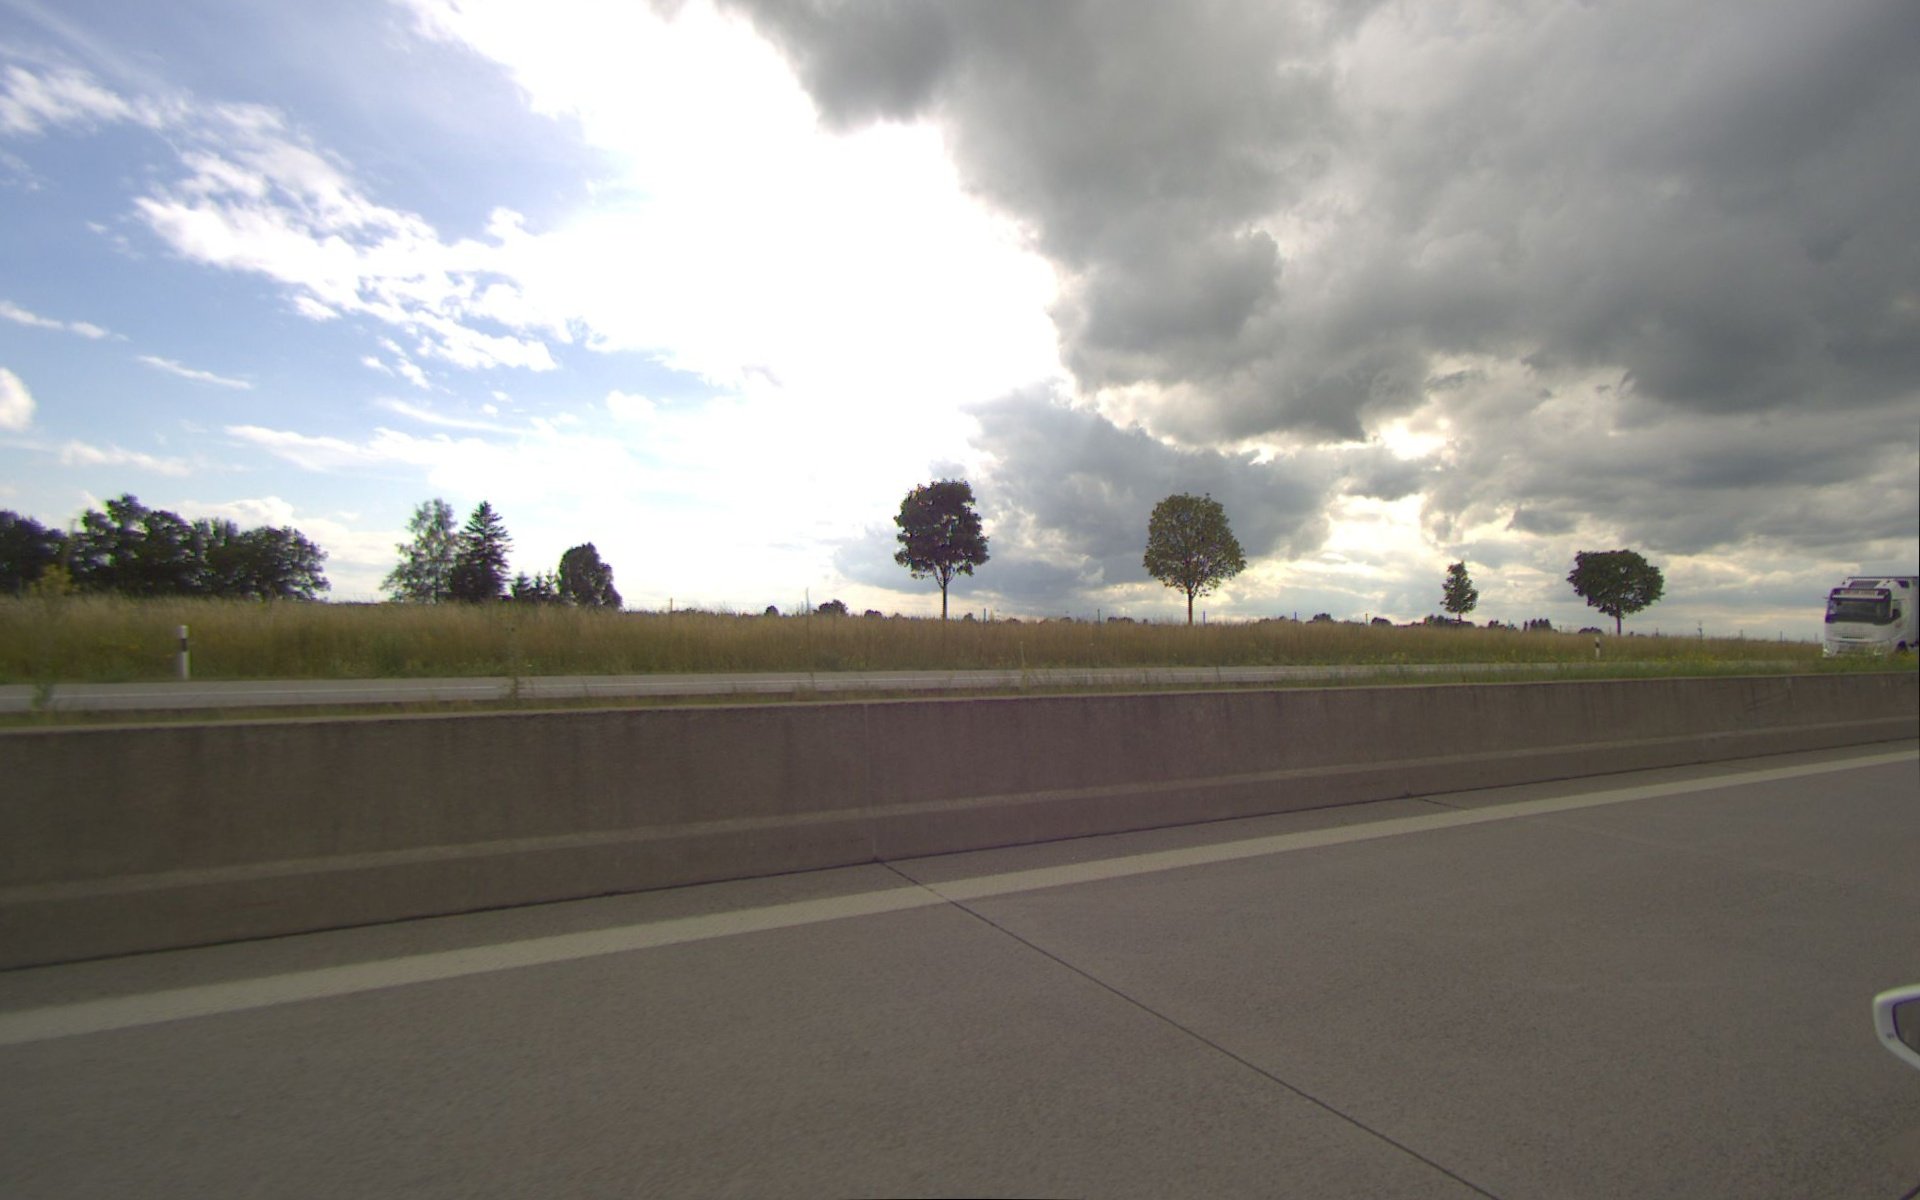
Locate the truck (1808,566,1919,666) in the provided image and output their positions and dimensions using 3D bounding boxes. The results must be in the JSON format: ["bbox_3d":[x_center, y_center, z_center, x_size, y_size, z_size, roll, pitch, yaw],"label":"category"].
[{"bbox_3d":[42.300,0.794,46.345,6.018,4.312,2.829,2,0,-29],"label":"truck"}]

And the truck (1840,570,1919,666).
[{"bbox_3d":[48.822,1.089,49.994,14.390,4.312,2.828,3,-1,-29],"label":"truck"}]
